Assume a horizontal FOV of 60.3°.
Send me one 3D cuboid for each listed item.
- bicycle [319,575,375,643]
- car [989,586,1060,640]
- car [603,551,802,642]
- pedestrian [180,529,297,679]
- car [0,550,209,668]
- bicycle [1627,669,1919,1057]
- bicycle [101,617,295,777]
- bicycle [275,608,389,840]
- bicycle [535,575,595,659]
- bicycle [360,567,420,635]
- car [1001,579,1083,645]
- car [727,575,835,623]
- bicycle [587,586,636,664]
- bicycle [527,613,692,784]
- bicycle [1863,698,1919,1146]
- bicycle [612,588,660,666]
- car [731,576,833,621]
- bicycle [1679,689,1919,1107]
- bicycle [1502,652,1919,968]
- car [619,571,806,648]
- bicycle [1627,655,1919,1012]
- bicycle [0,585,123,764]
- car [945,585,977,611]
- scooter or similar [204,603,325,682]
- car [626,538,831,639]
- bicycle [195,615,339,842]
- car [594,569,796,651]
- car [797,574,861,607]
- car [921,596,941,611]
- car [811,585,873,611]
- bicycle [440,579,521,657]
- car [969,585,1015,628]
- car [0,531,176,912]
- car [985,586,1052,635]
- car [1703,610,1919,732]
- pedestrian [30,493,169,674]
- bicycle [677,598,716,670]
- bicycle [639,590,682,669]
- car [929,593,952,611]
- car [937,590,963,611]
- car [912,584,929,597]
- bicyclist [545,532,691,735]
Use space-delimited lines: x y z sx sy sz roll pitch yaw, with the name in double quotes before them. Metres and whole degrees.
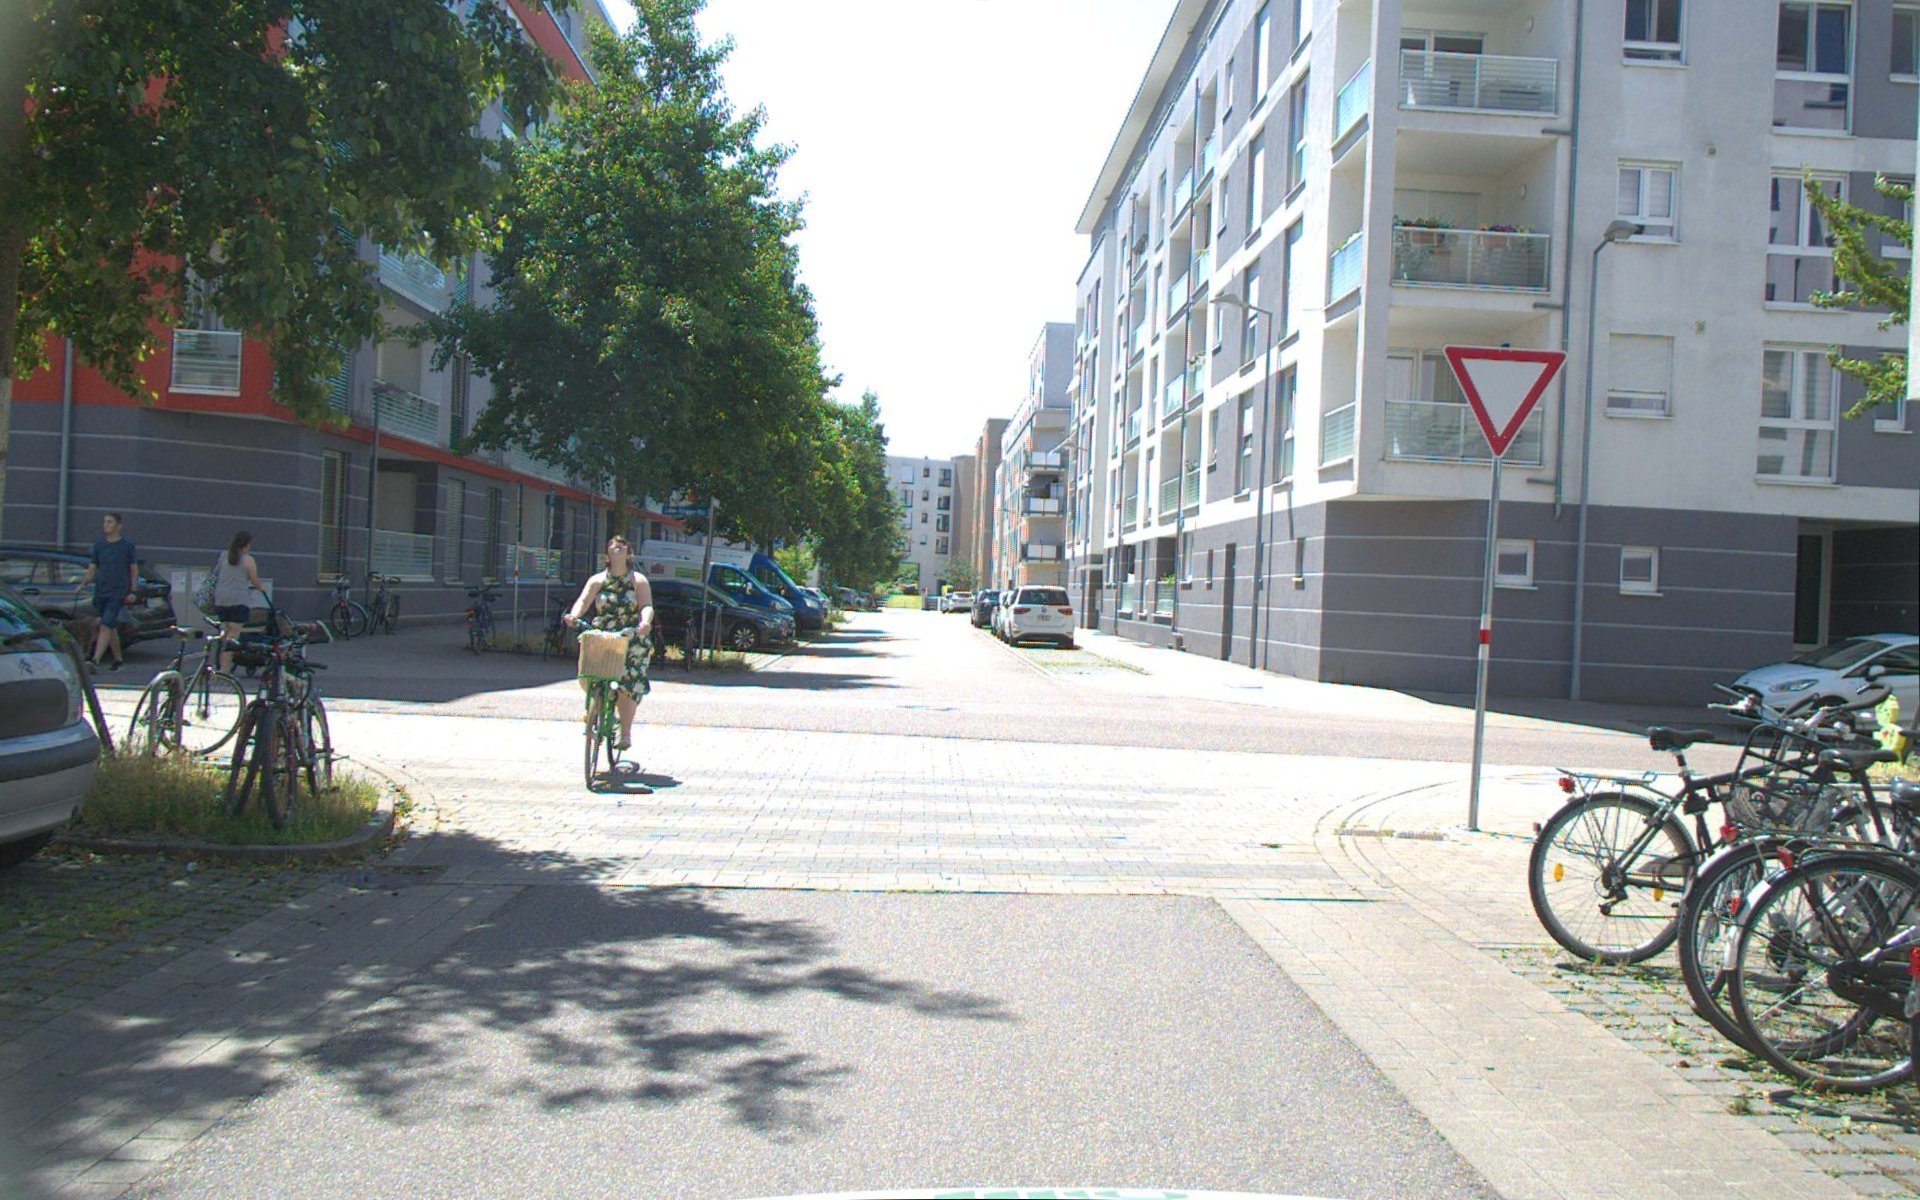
"bicycle" -10.818 0.141 29.246 0.596 1.126 2.100 2 0 -12
"car" 1.969 0.366 51.414 1.953 1.551 3.999 1 0 -1
"car" -7.003 -0.118 45.418 5.042 2.156 2.311 3 1 -2
"pedestrian" -8.585 0.048 19.711 0.980 1.720 0.832 2 0 -1
"car" -12.918 0.061 22.478 4.482 1.407 1.936 2 2 -4
"bicycle" 3.340 0.873 5.608 1.882 1.200 0.639 1 0 7
"bicycle" -5.373 0.650 11.772 0.522 1.007 1.677 4 0 1
"bicycle" -3.662 0.669 9.727 0.364 1.201 1.815 1 0 -13
"bicycle" -6.711 0.271 28.169 0.581 1.354 1.812 2 1 -1
"bicycle" -10.966 0.011 31.868 0.540 1.261 1.924 1 0 -2
"car" 2.207 0.298 45.719 1.957 1.686 4.114 1 0 -1
"car" -6.947 -0.044 64.322 3.905 1.691 2.000 2 0 0
"bicycle" -5.970 0.407 28.401 0.508 1.224 1.751 4 1 -4
"bicycle" -2.656 0.710 12.784 0.880 1.149 2.039 2 0 -2
"bicycle" 3.401 0.870 4.638 1.807 1.168 0.458 1 0 -21
"bicycle" -5.509 0.437 28.162 0.425 1.224 1.699 4 1 -1
"car" -7.286 -0.069 68.048 3.905 1.646 2.000 2 0 0
"bicycle" 3.260 0.890 5.000 1.882 1.153 0.609 1 0 7
"bicycle" 3.323 0.859 6.999 1.821 1.214 0.687 1 0 1
"car" -6.068 0.229 40.943 4.295 1.568 1.878 4 0 -2
"bicycle" 3.450 0.857 6.293 1.520 1.239 0.707 1 0 -4
"bicycle" -6.701 0.486 11.790 0.695 1.155 1.836 2 0 -7
"car" 0.053 -0.166 114.329 1.954 1.704 3.998 2 0 -3
"scooter or similar" -8.639 0.520 20.597 1.046 0.904 1.018 2 0 -1
"car" -7.020 -0.366 50.849 5.902 2.865 2.604 2 0 -2
"bicycle" -4.016 0.686 9.688 0.426 1.147 1.972 1 0 -13
"car" -6.064 0.220 38.261 4.295 1.541 2.074 4 0 -2
"car" -8.667 -0.621 109.650 3.903 2.049 2.001 2 0 5
"car" -3.121 0.381 176.785 1.953 1.545 4.000 2 0 0
"car" -8.014 -0.126 112.256 3.903 1.630 2.001 2 0 4
"bicycle" -8.082 0.275 27.959 0.675 1.190 2.222 4 1 -1
"car" 1.302 0.229 65.805 1.721 1.579 4.001 3 0 2
"car" -5.646 0.379 7.144 3.557 1.547 1.831 4 0 -2
"car" 1.949 0.332 56.244 1.954 1.551 3.998 1 0 -3
"car" 13.002 1.018 23.655 3.907 1.495 1.755 2 3 -3
"pedestrian" -10.183 -0.196 19.609 0.988 2.049 1.129 2 0 1
"bicycle" -4.514 0.560 28.407 0.456 1.161 1.925 2 0 -4
"bicycle" -5.085 0.485 28.170 0.560 1.194 1.765 5 1 -8
"car" -1.839 0.155 155.570 1.954 1.545 3.998 2 0 -3
"car" -0.858 0.027 141.534 1.954 1.747 3.998 2 0 -3
"car" -4.755 -1.146 197.508 1.954 1.545 3.998 2 0 -3
"bicyclist" -2.621 0.248 12.778 0.934 1.485 0.799 2 0 -2
